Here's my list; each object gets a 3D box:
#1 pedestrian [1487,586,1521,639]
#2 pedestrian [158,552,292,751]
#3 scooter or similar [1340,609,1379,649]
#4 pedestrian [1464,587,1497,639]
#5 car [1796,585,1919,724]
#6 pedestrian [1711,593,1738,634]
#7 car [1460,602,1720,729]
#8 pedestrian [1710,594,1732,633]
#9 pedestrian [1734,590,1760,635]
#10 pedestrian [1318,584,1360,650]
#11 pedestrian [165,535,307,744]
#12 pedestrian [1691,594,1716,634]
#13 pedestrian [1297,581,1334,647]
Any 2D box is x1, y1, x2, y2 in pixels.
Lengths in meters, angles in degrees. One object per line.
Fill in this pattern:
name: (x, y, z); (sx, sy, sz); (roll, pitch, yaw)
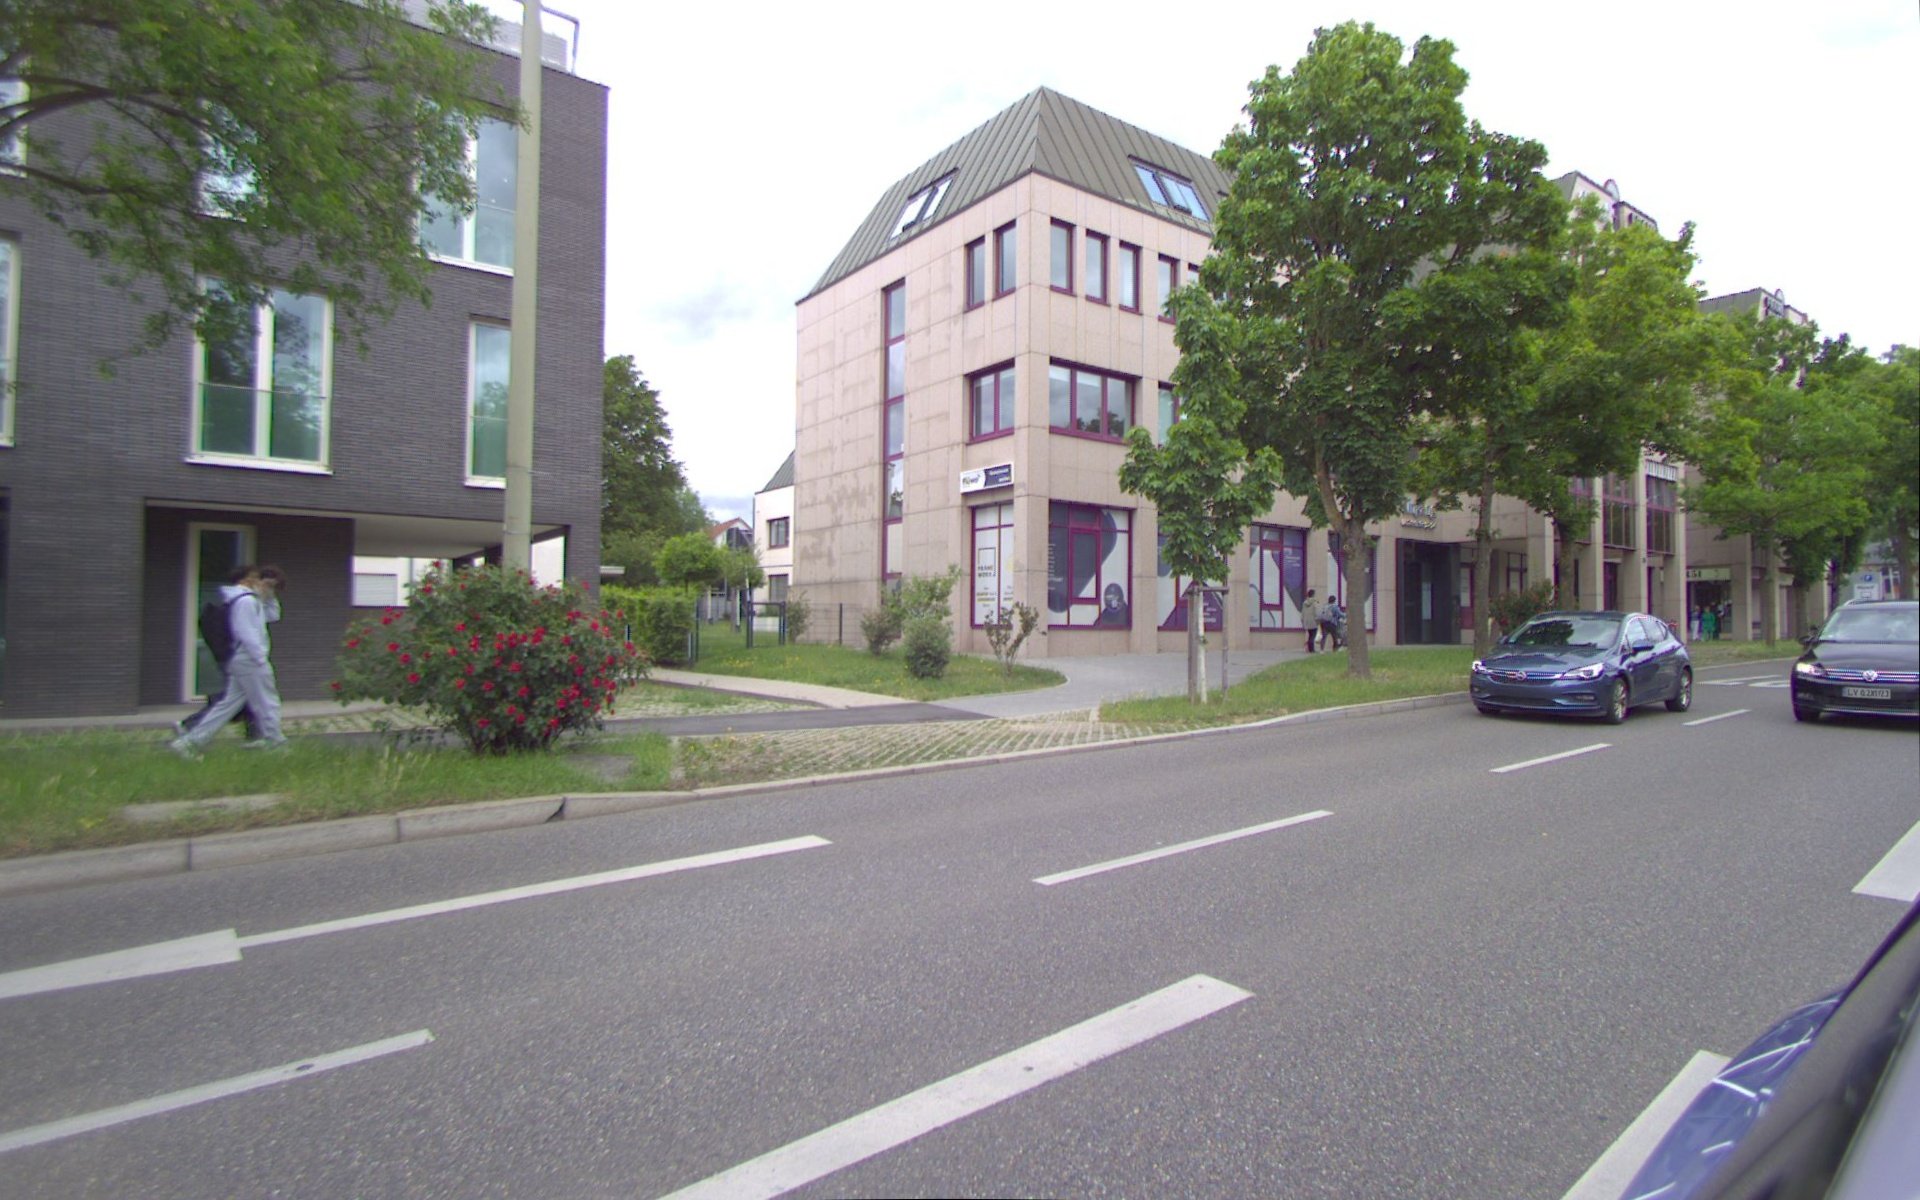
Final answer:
pedestrian: (18.089, 0.422, 33.652); (0.951, 1.726, 0.597); (0, -1, -35)
pedestrian: (-7.062, 0.485, 9.733); (0.936, 1.798, 0.609); (3, -3, -40)
scooter or similar: (10.490, 0.749, 26.547); (0.830, 1.006, 0.585); (0, 0, -34)
pedestrian: (17.566, 0.447, 34.169); (0.951, 1.726, 0.597); (0, -1, -35)
car: (13.017, 0.658, 13.732); (4.238, 1.661, 1.970); (0, 1, -42)
pedestrian: (32.587, 0.558, 43.136); (0.827, 1.712, 0.659); (0, 1, -36)
car: (8.913, 0.782, 14.186); (4.238, 1.457, 1.970); (0, 1, -42)
pedestrian: (31.459, 0.559, 41.839); (0.534, 1.569, 0.563); (0, 1, -36)
pedestrian: (32.977, 0.530, 42.405); (0.827, 1.849, 0.659); (0, 1, -36)
pedestrian: (9.758, 0.427, 26.040); (0.943, 1.673, 0.557); (0, 0, -35)
pedestrian: (-6.610, 0.358, 9.251); (0.936, 1.798, 0.609); (3, -3, -40)
pedestrian: (32.180, 0.585, 43.809); (0.827, 1.712, 0.659); (0, 1, -36)
pedestrian: (9.439, 0.376, 26.868); (0.814, 1.721, 0.569); (0, -1, -36)
